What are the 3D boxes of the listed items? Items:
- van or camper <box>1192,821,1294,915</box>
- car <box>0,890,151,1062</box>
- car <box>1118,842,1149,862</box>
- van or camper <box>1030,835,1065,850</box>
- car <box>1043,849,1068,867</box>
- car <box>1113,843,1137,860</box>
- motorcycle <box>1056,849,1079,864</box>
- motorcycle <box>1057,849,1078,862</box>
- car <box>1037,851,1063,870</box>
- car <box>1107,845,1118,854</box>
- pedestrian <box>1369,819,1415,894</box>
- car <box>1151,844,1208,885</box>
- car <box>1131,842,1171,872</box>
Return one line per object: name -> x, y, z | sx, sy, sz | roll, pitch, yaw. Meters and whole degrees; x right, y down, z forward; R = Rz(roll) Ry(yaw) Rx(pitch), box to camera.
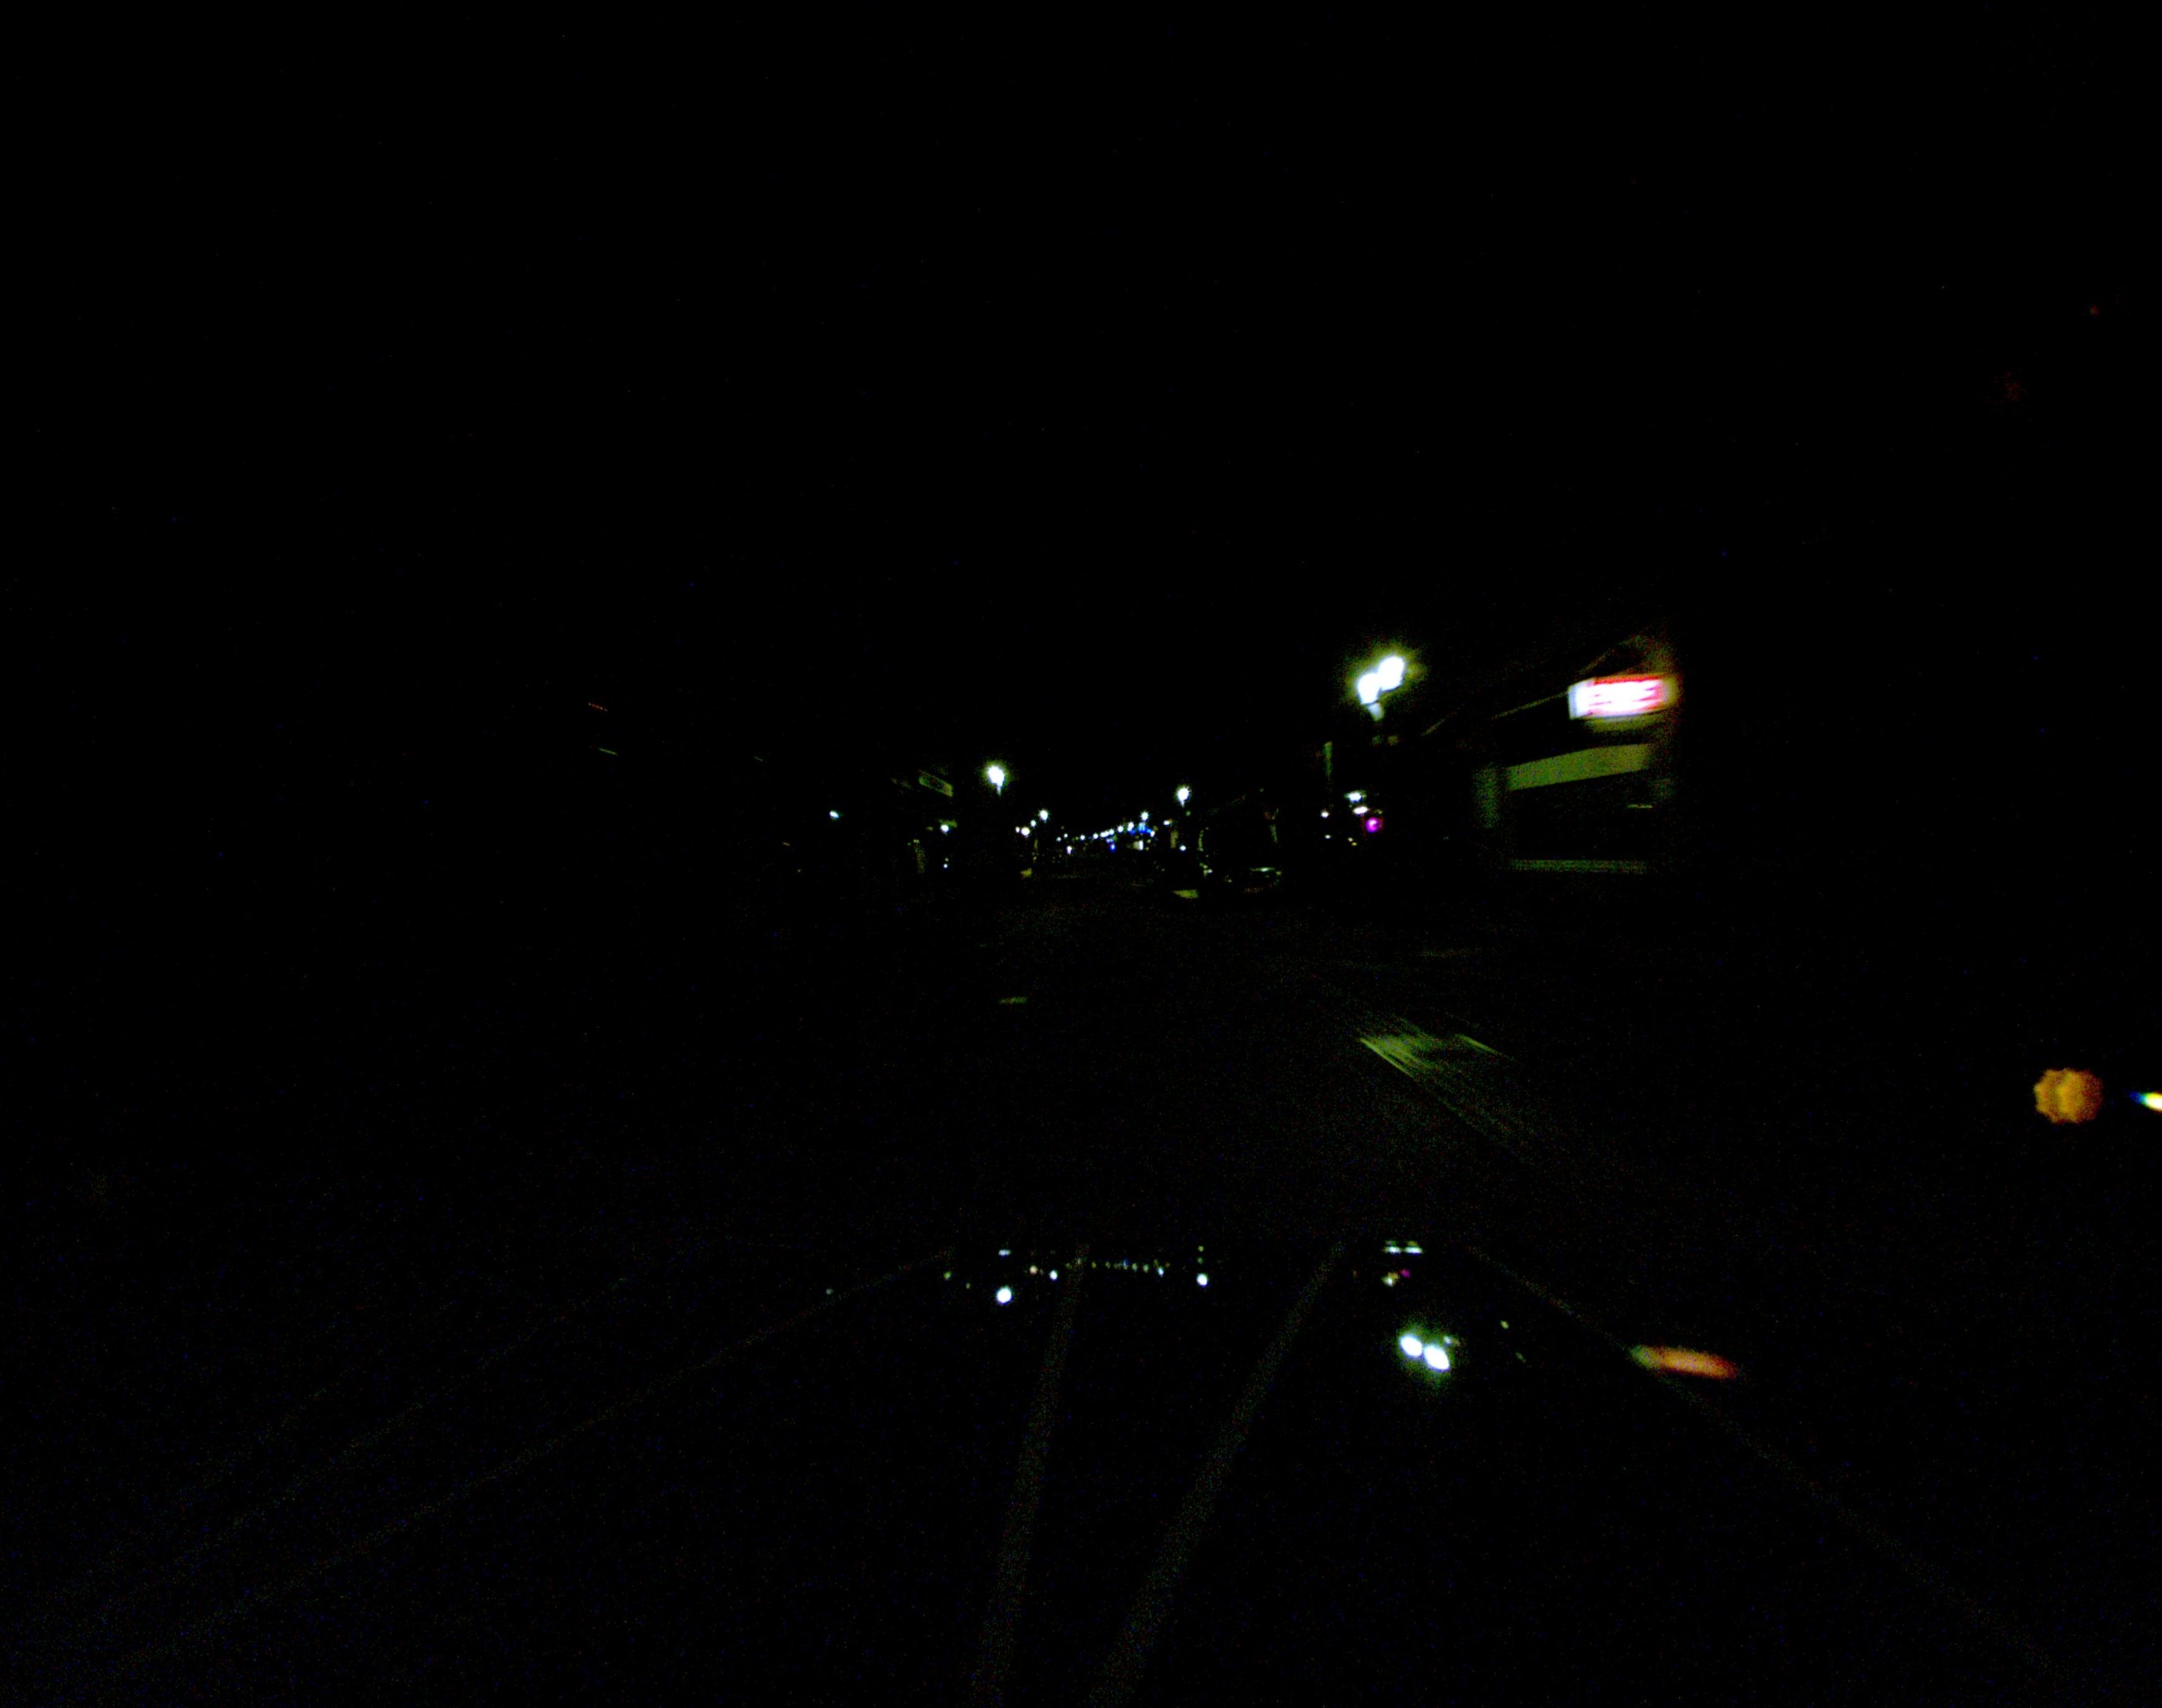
van or camper -> 3.883, 0.268, 18.998 | 1.850, 1.930, 5.155 | -4, 1, 6
car -> -12.606, 1.255, 7.614 | 4.316, 1.629, 1.901 | -2, -1, 2
car -> 4.309, -0.152, 62.958 | 1.850, 1.455, 4.621 | -4, 1, -3
van or camper -> -6.122, -2.102, 140.693 | 6.060, 2.519, 2.157 | -3, 1, -30
car -> -2.159, 0.306, 65.672 | 1.757, 1.456, 4.467 | -1, 1, 4
car -> 4.324, -0.257, 75.324 | 1.905, 1.462, 4.523 | -3, 1, -2
motorcycle -> -1.425, 0.250, 77.901 | 2.266, 1.383, 0.662 | -2, 2, 25
motorcycle -> -1.440, 0.191, 80.611 | 2.165, 1.290, 0.516 | -1, 2, 30
car -> -2.441, 0.515, 60.714 | 1.665, 1.369, 4.104 | -1, 1, 4
car -> 5.499, -0.869, 133.499 | 1.655, 1.417, 4.013 | -5, 1, -1
pedestrian -> 7.550, 0.058, 18.481 | 0.622, 1.735, 1.022 | -3, 1, 1
car -> 3.901, 0.365, 30.753 | 1.721, 1.404, 4.385 | -4, 1, 1
car -> 4.057, 0.132, 44.753 | 1.802, 1.469, 4.320 | -5, 1, 0
